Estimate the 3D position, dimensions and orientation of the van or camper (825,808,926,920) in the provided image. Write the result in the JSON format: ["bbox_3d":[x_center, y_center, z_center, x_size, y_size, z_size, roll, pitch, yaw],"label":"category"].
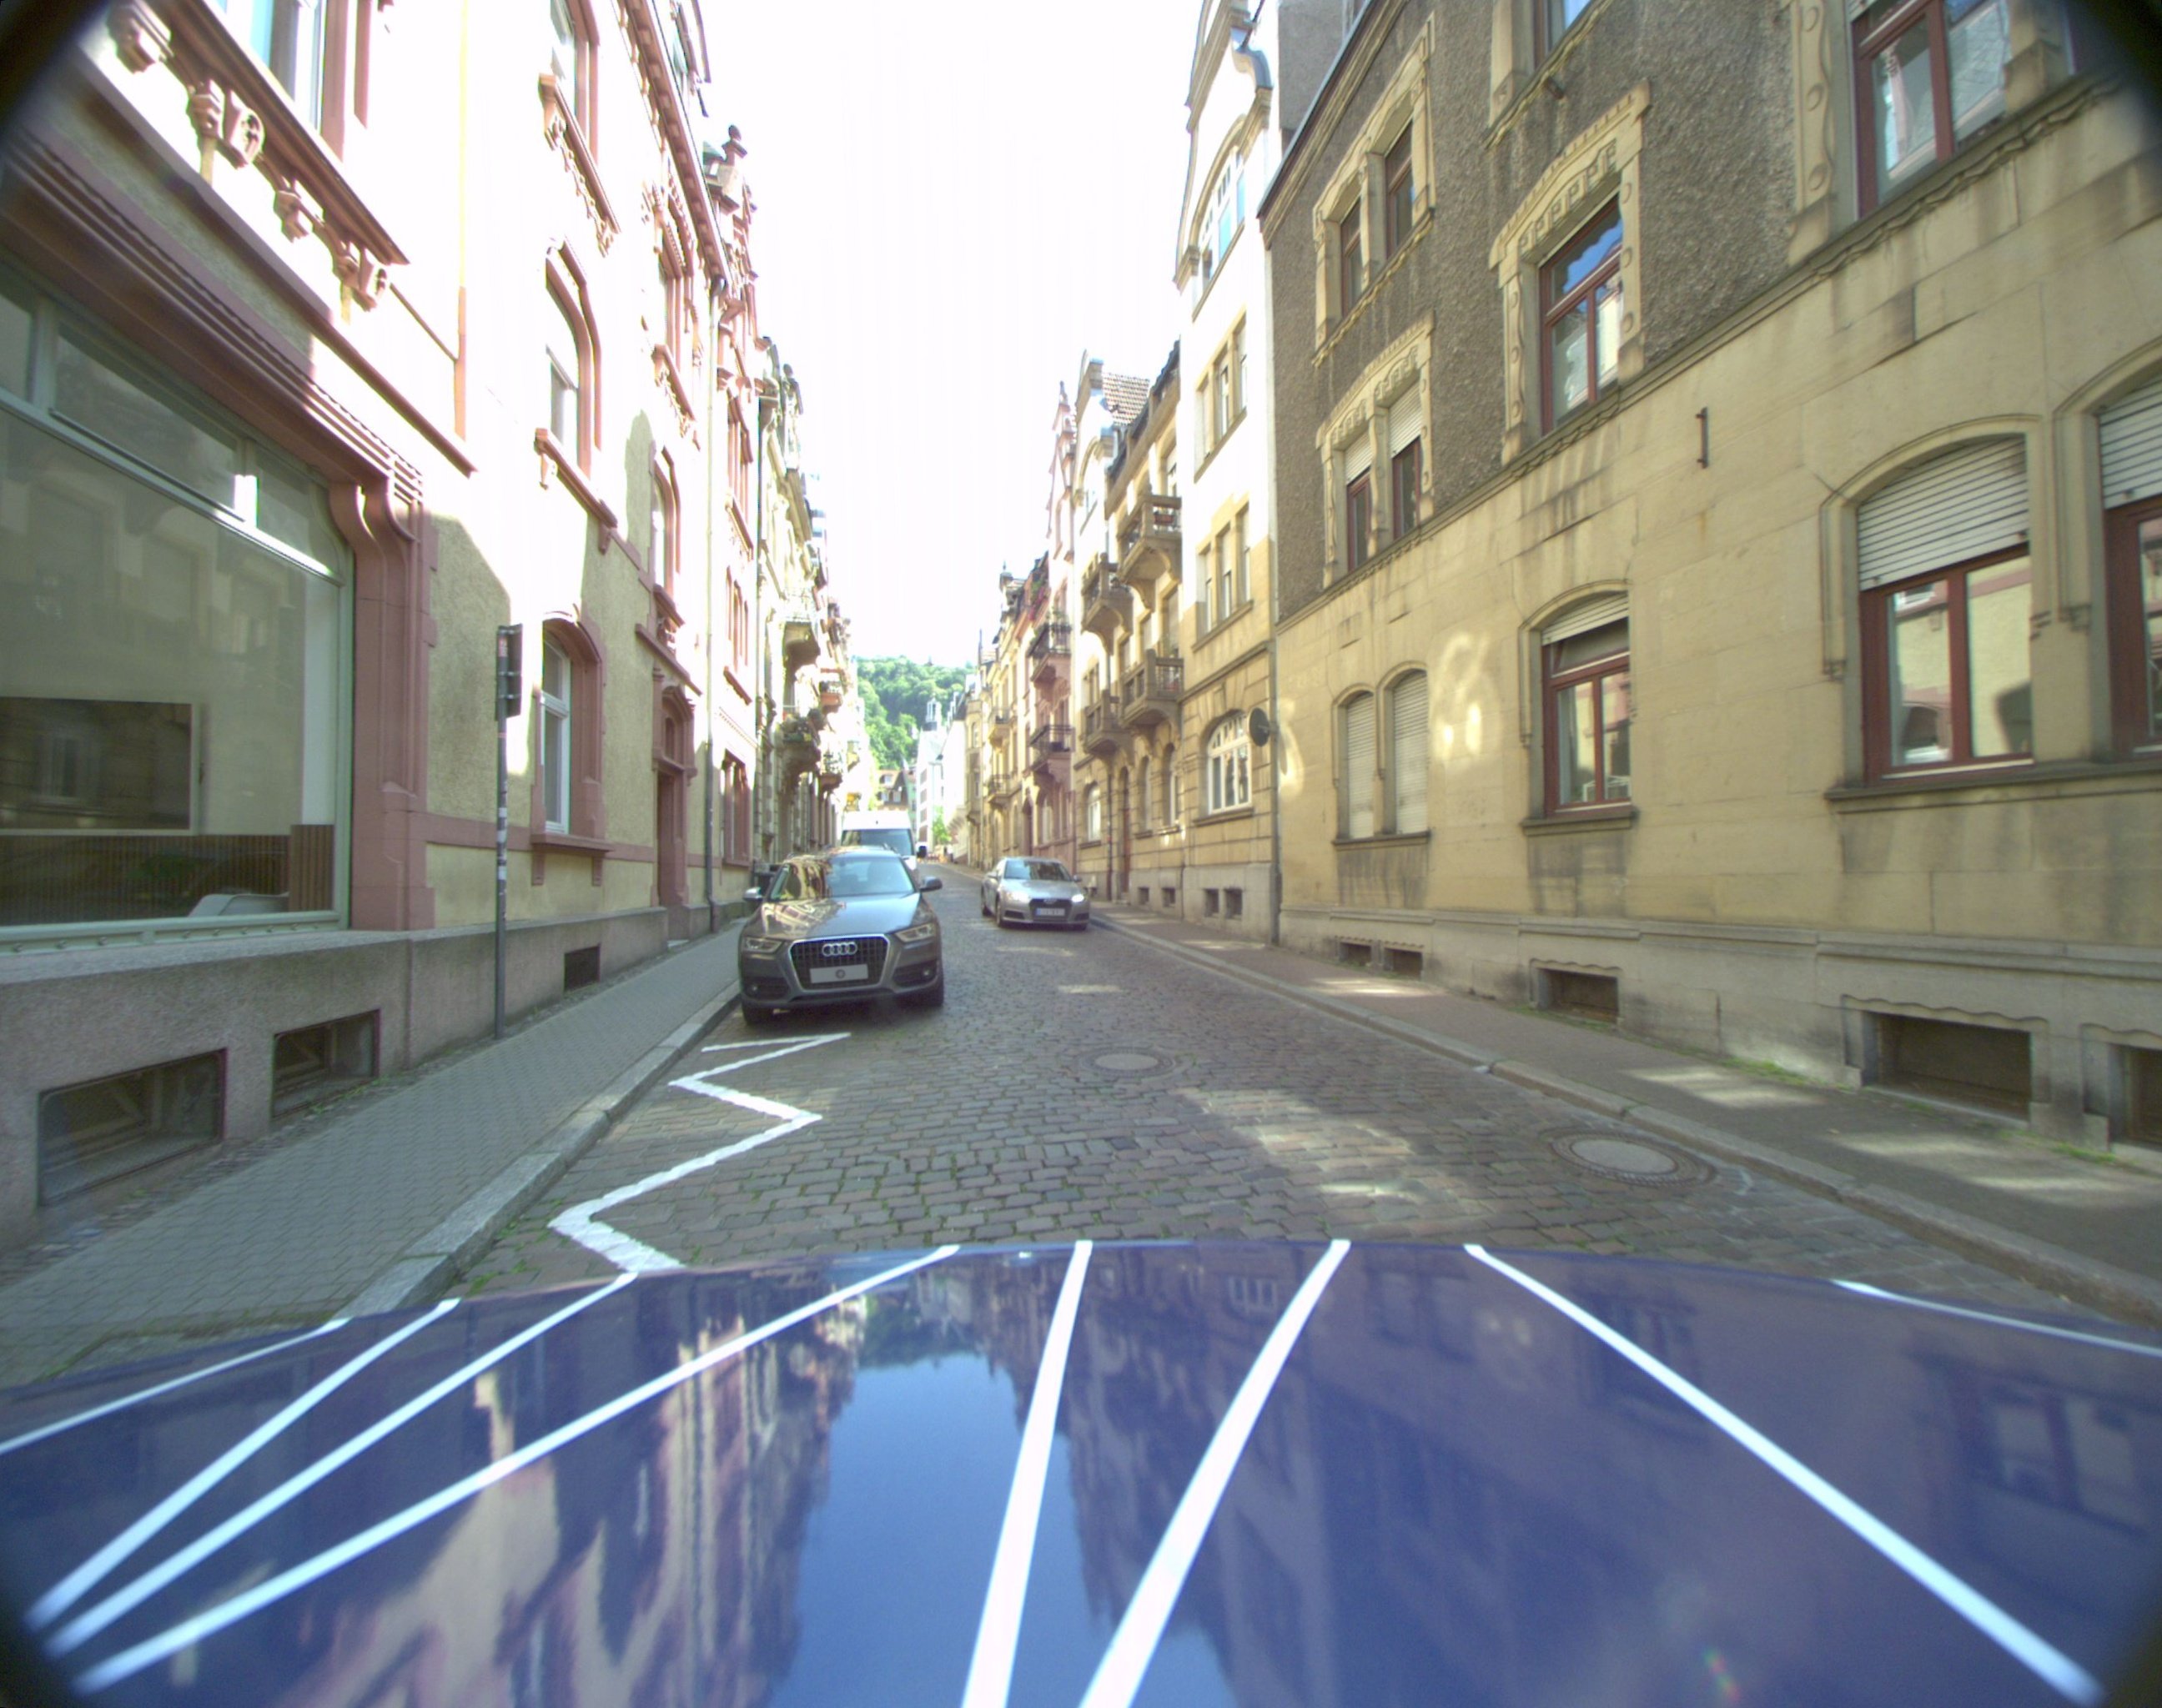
[{"bbox_3d":[-5.503,0.177,20.646,2.228,2.506,6.758,0,1,-14],"label":"van or camper"}]

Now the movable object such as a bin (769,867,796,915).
[{"bbox_3d":[-6.994,0.861,17.825,0.518,1.083,0.421,-1,-1,-13],"label":"movable object such as a bin"}]

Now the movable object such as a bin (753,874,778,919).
[{"bbox_3d":[-6.882,0.924,16.583,0.440,0.952,0.349,-1,-1,-13],"label":"movable object such as a bin"}]

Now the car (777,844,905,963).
[{"bbox_3d":[-4.067,0.716,13.411,1.762,1.696,3.995,-3,1,-13],"label":"car"}]

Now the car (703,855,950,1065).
[{"bbox_3d":[-2.570,0.835,8.249,1.863,1.574,4.254,-2,1,-15],"label":"car"}]

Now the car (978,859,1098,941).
[{"bbox_3d":[-1.082,0.868,16.432,1.878,1.483,4.378,0,0,-13],"label":"car"}]
